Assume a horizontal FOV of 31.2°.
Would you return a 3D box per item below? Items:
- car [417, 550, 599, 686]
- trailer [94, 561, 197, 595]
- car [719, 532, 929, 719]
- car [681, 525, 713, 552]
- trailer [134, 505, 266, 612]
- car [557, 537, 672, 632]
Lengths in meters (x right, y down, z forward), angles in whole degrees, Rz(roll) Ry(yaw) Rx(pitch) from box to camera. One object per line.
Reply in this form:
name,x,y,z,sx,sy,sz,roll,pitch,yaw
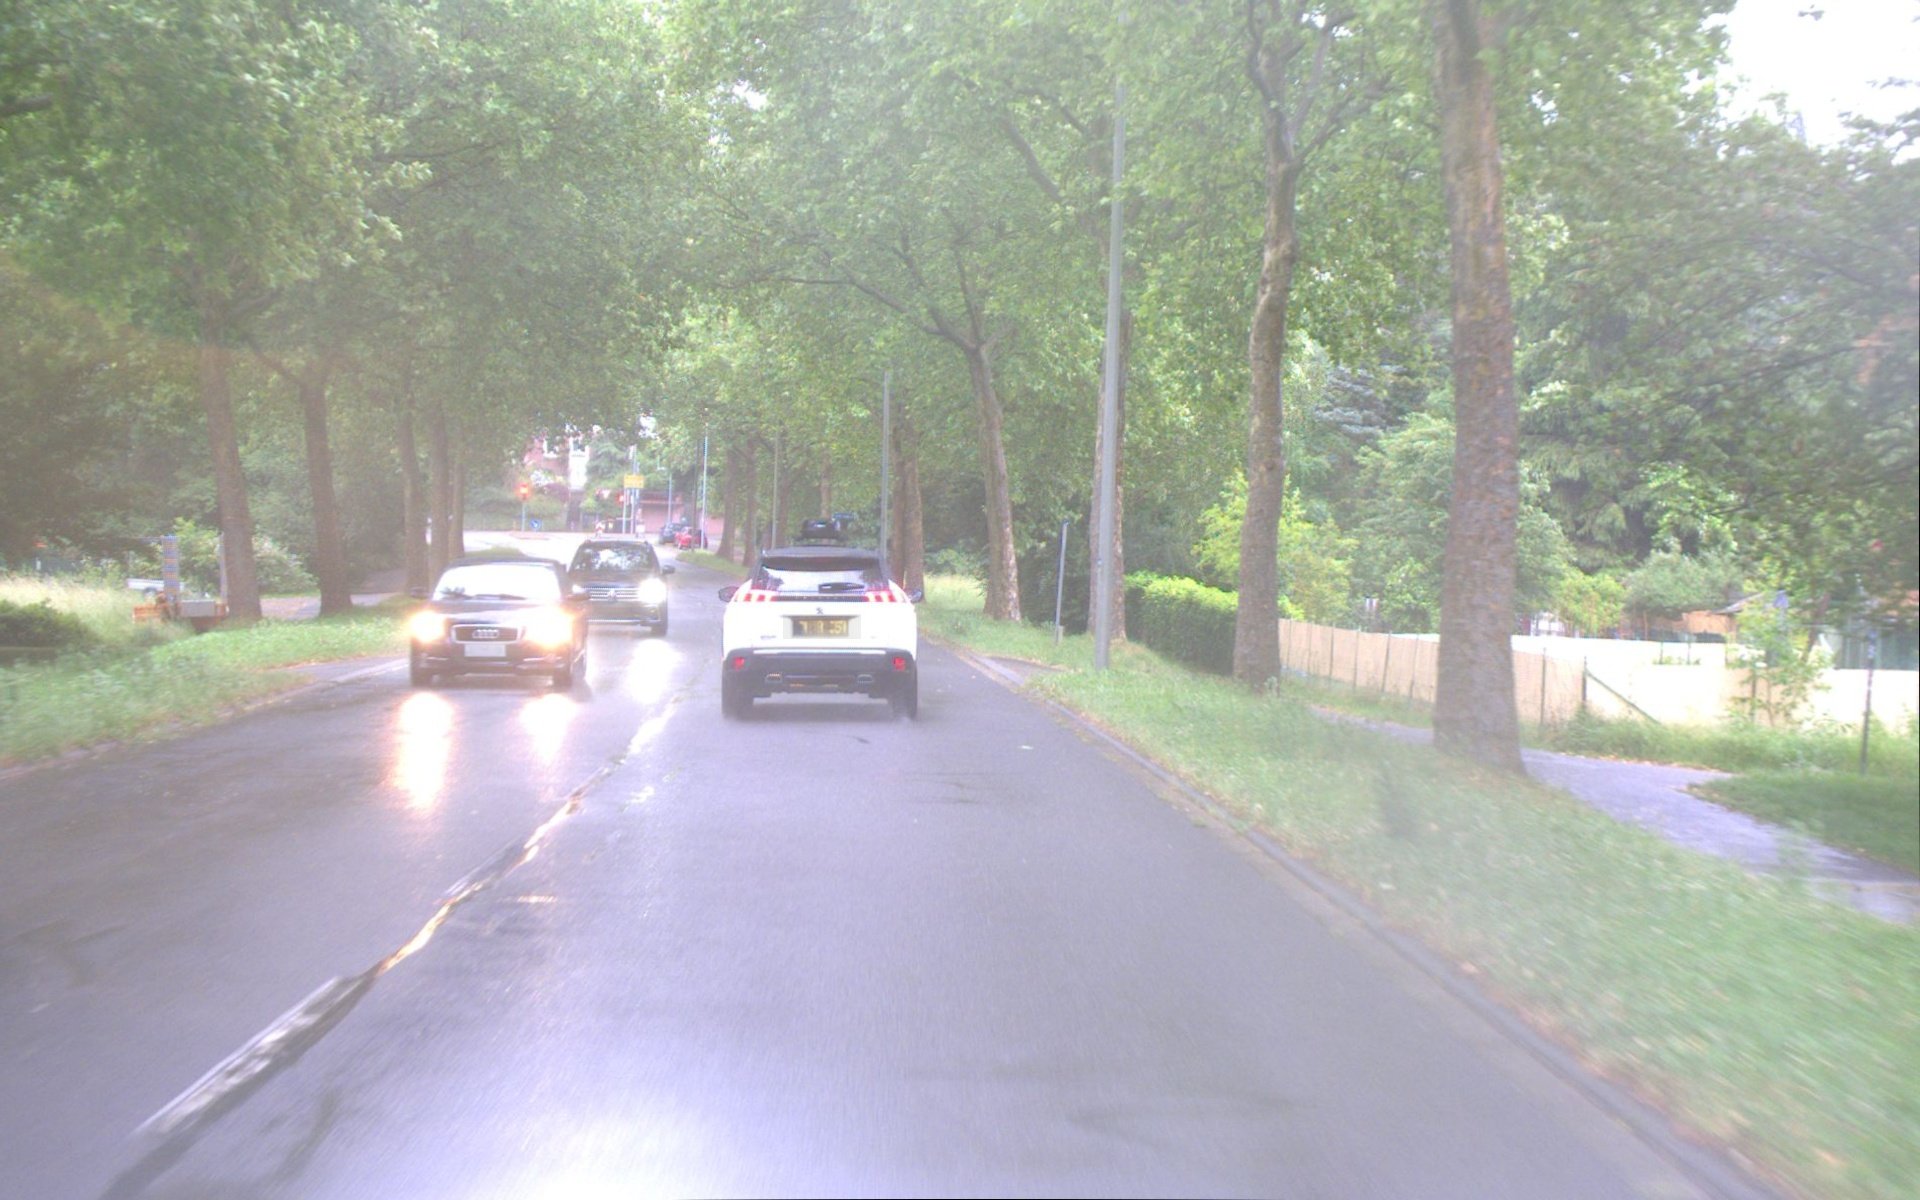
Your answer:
car,-5.007,0.161,38.507,1.731,1.419,4.226,0,1,-3
trailer,-29.124,-0.785,122.984,3.552,1.174,1.823,0,1,-12
car,-1.266,0.188,32.036,1.793,1.573,3.845,2,1,-2
car,-16.421,-3.831,214.736,1.827,1.590,3.654,2,1,-3
trailer,-19.254,-1.070,87.332,2.484,2.558,5.333,2,1,-5
car,-6.083,-0.298,60.897,1.731,1.582,4.311,2,1,-2
